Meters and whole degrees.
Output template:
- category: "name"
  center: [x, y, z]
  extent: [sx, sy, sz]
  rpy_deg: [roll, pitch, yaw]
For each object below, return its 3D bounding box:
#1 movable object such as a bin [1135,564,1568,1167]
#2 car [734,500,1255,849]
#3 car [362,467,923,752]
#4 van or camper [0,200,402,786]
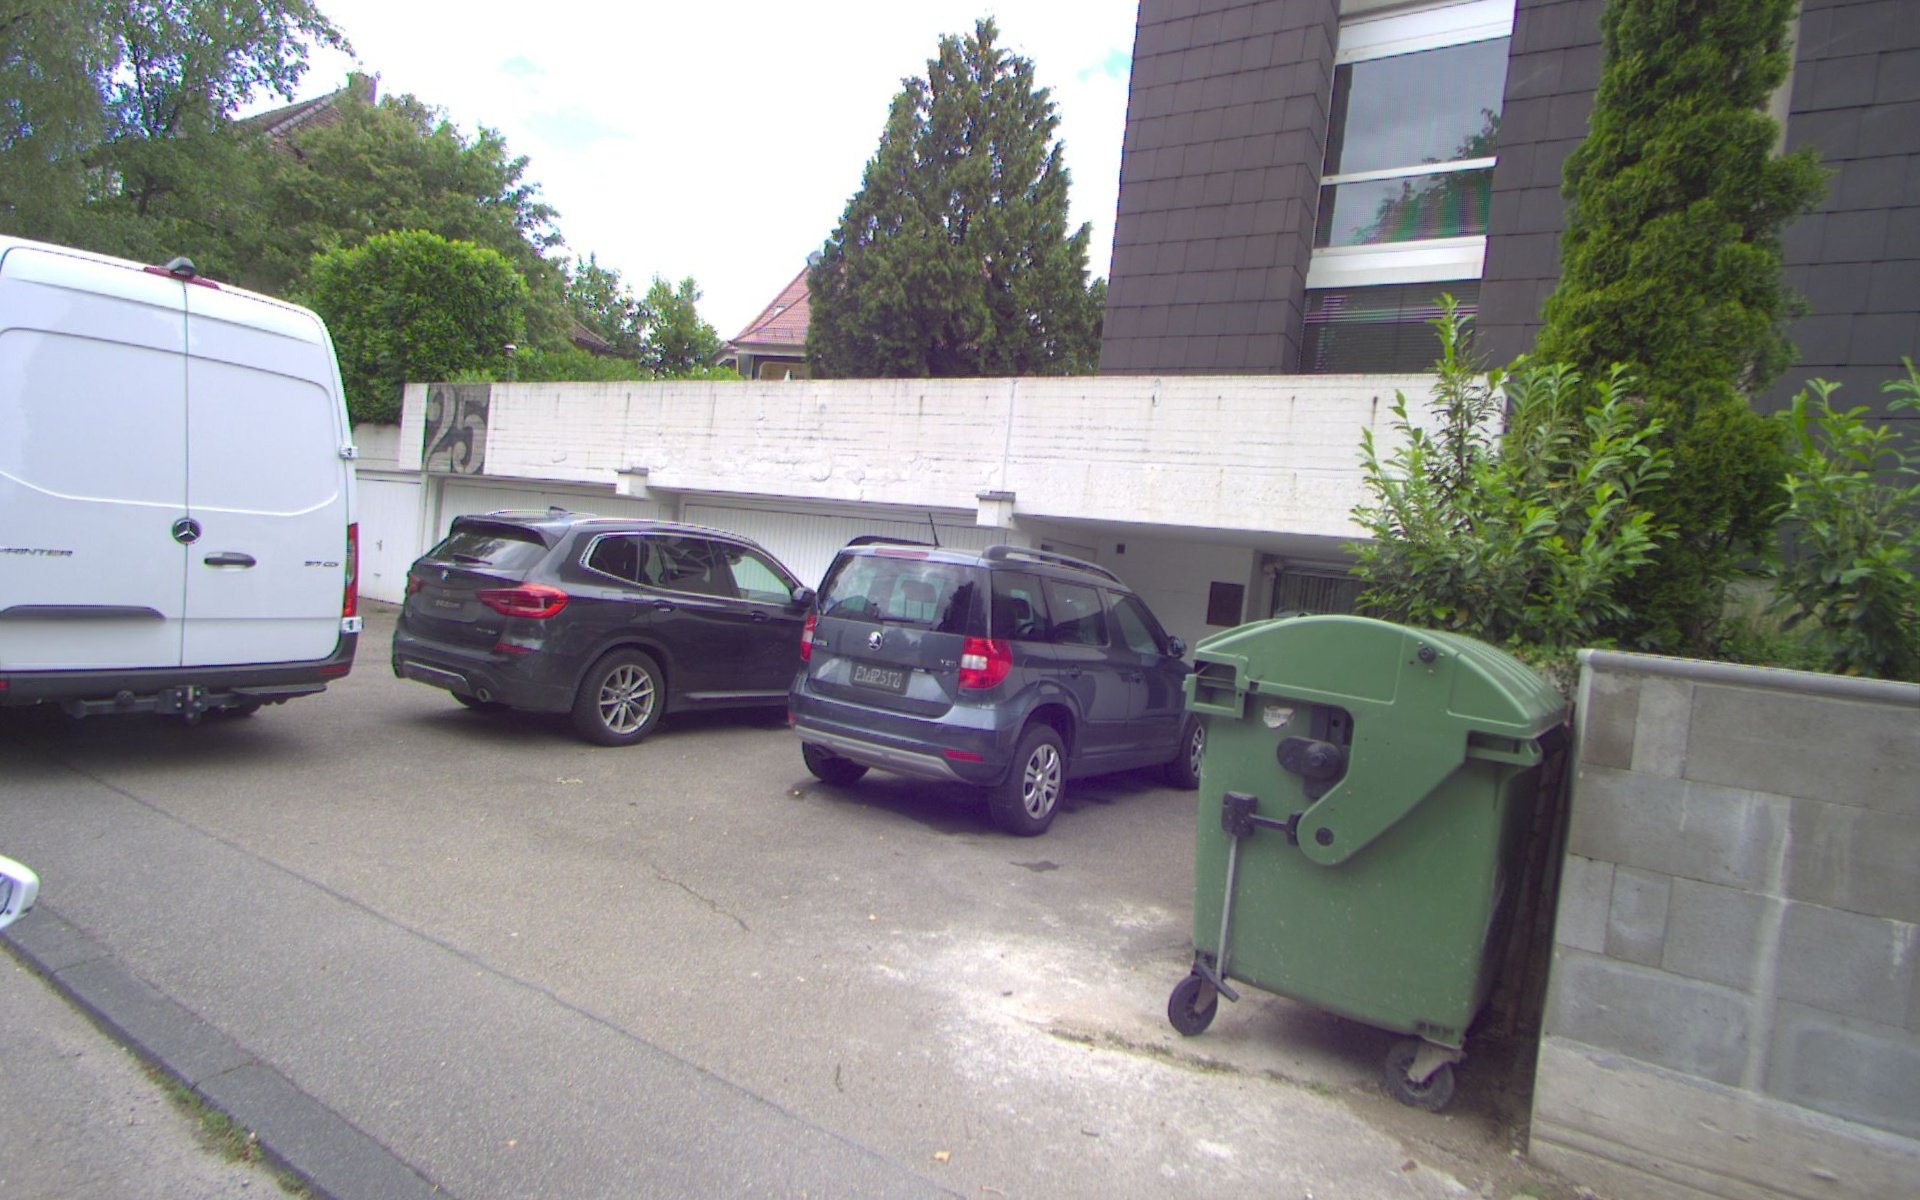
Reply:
- category: "movable object such as a bin"
  center: [1.349, 0.733, 3.397]
  extent: [1.016, 1.550, 1.034]
  rpy_deg: [7, 1, 33]
- category: "car"
  center: [0.530, 0.462, 7.403]
  extent: [1.804, 1.772, 3.973]
  rpy_deg: [7, 1, 35]
- category: "car"
  center: [-2.365, 0.131, 8.685]
  extent: [1.710, 1.772, 4.419]
  rpy_deg: [7, 1, 33]
- category: "van or camper"
  center: [-6.708, -0.731, 6.909]
  extent: [6.432, 2.653, 1.995]
  rpy_deg: [7, 1, 32]
